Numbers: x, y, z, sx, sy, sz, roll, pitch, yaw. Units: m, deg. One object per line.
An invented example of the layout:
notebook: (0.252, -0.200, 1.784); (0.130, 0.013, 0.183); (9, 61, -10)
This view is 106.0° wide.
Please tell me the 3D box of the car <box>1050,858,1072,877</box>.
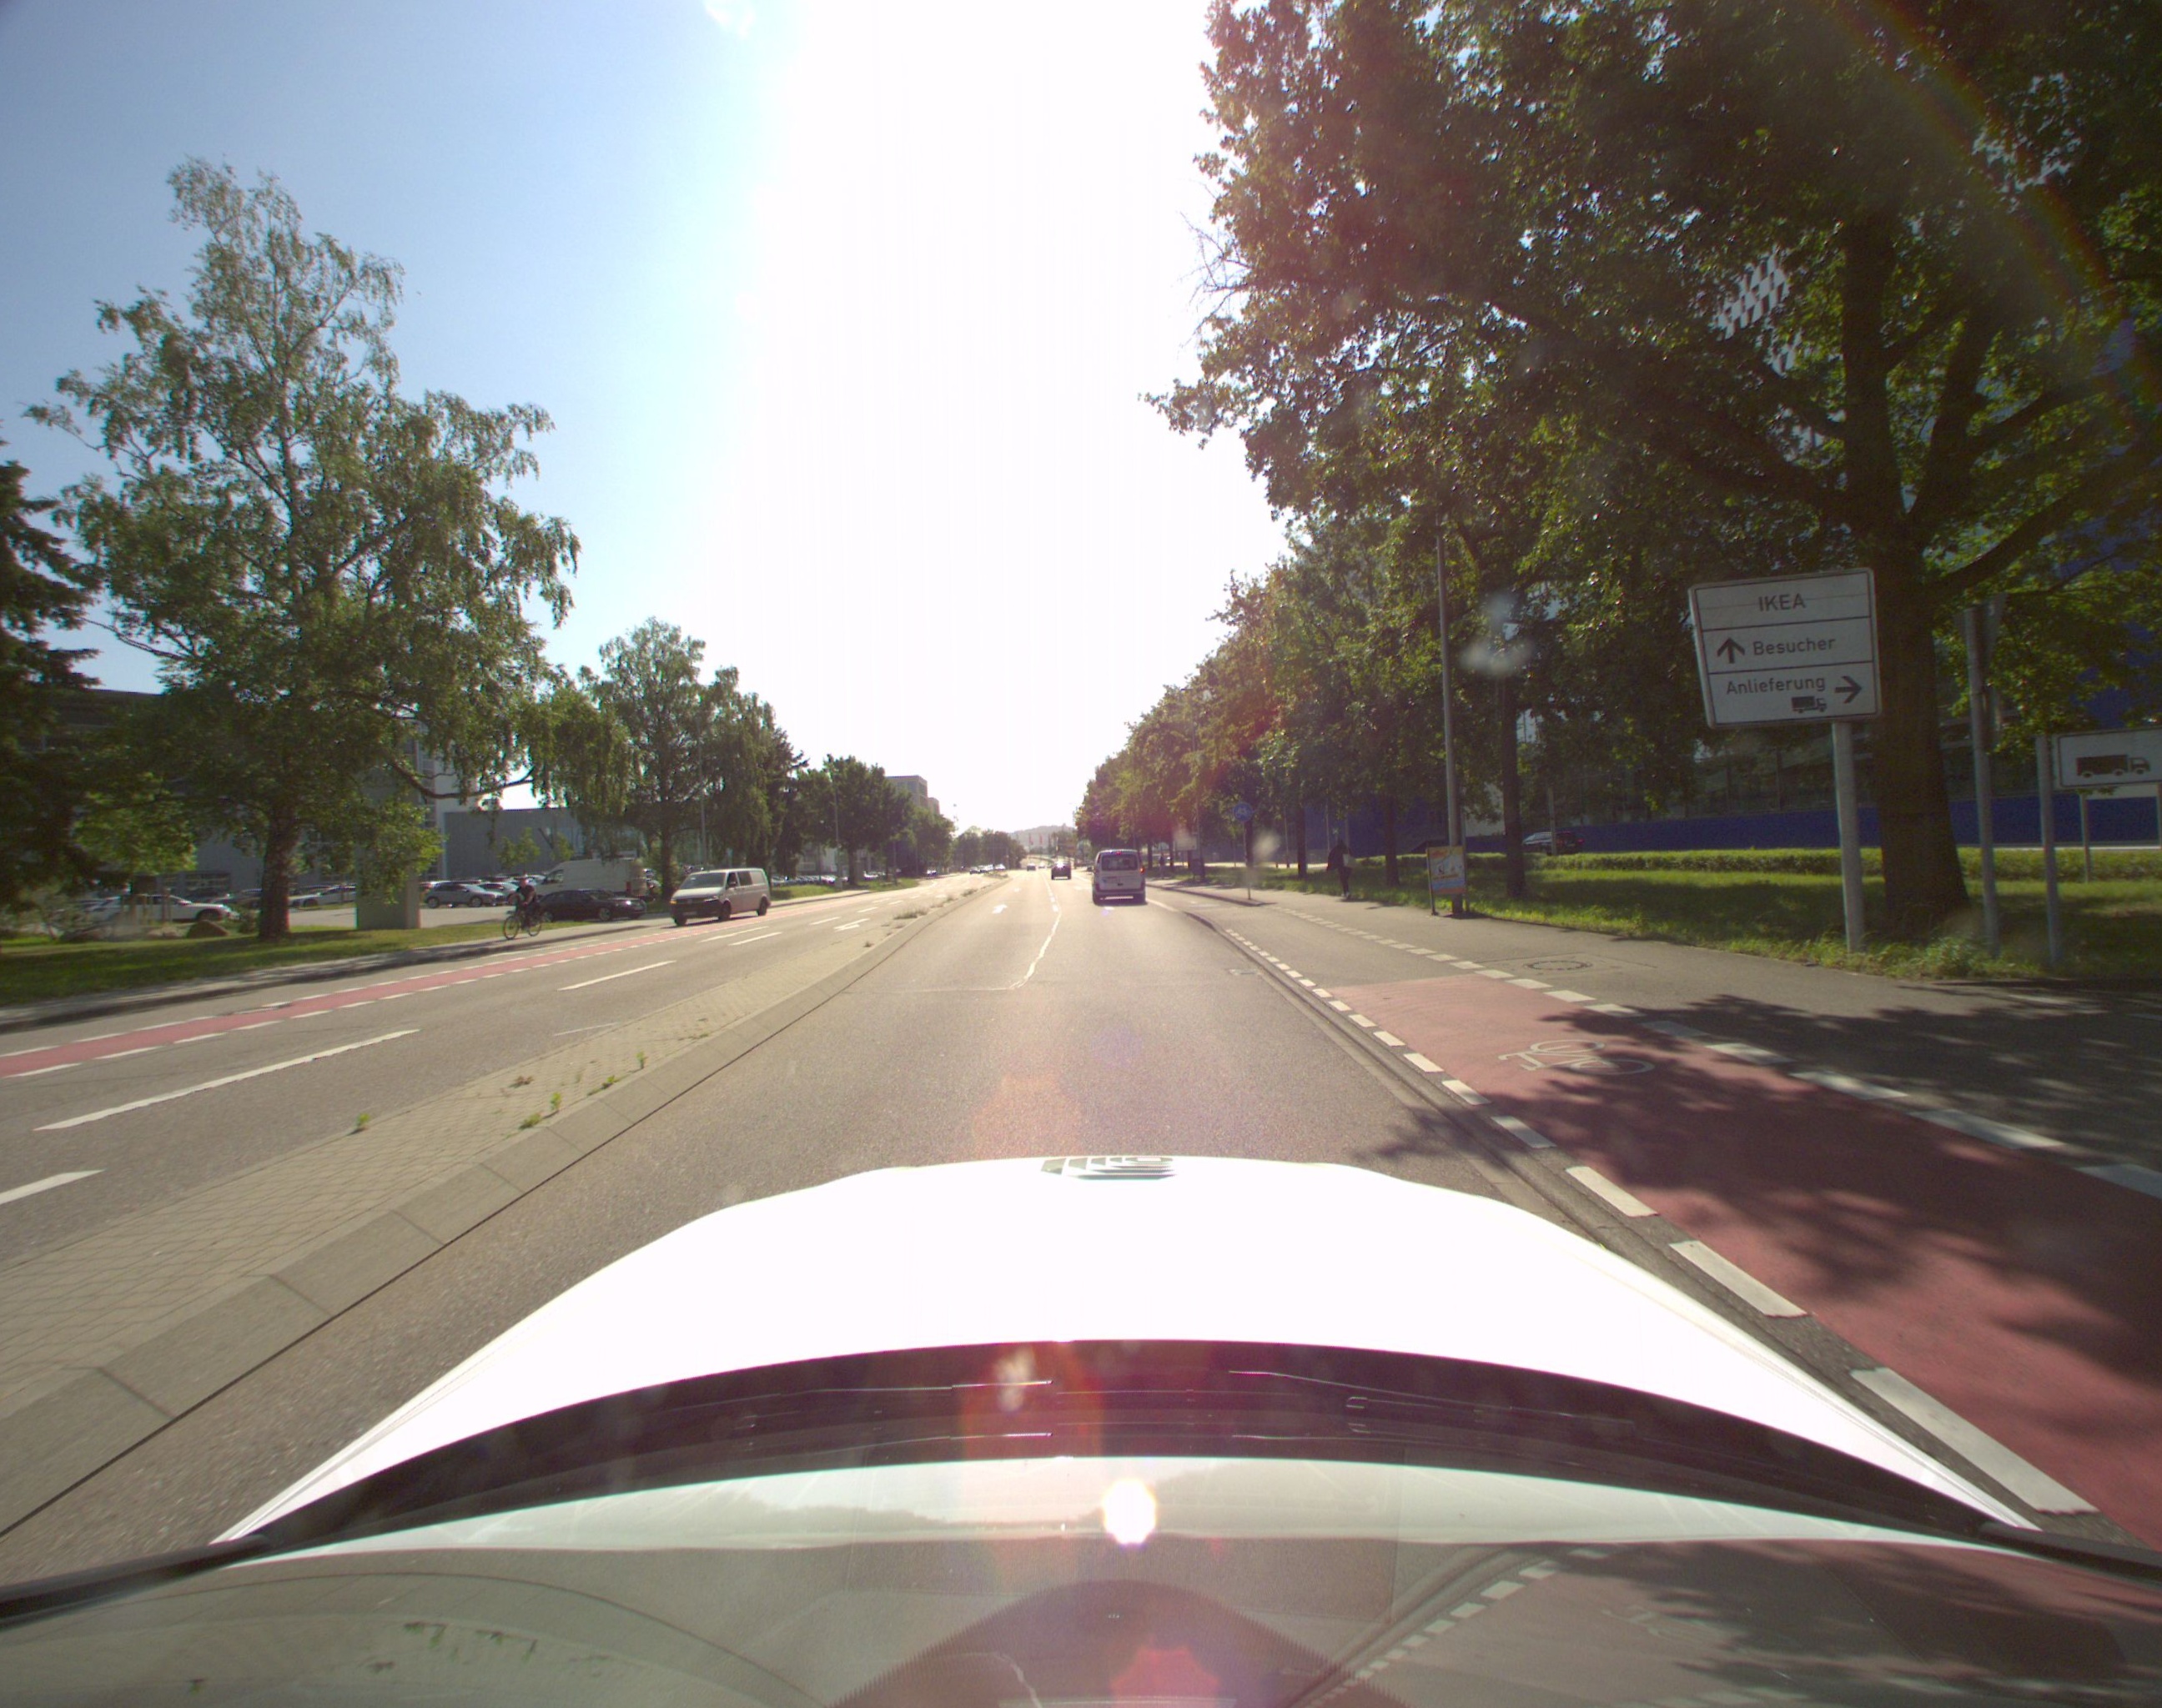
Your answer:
car: (-1.912, 1.272, 78.378); (1.801, 1.640, 4.459); (-3, 0, 1)

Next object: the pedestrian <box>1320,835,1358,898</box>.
pedestrian: (6.891, 0.332, 21.768); (0.645, 1.603, 0.846); (-3, -1, -2)

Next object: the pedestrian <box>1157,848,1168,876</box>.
pedestrian: (5.474, 0.540, 54.661); (0.534, 1.841, 0.727); (-3, -1, -3)

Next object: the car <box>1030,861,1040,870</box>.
car: (-9.519, 2.410, 168.328); (1.988, 1.684, 3.997); (-3, 0, -2)

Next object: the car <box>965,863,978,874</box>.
car: (-21.584, 2.775, 160.982); (1.988, 2.013, 3.998); (-1, 1, -1)

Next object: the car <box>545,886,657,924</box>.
car: (-20.665, 2.204, 35.034); (4.621, 1.413, 2.013); (-3, -1, 29)

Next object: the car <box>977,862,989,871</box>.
car: (-18.239, 2.287, 151.933); (1.837, 1.463, 4.995); (-5, 0, -2)

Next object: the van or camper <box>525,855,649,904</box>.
van or camper: (-26.824, 1.363, 44.355); (5.369, 2.470, 1.997); (-1, 1, -5)

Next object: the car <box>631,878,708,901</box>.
car: (-27.049, 2.324, 53.639); (4.075, 1.293, 1.743); (-3, 0, -1)

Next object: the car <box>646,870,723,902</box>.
car: (-27.283, 2.206, 56.157); (4.253, 1.884, 1.953); (-3, 0, -1)

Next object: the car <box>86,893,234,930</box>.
car: (-46.090, 2.873, 40.863); (1.974, 1.442, 4.579); (-3, 0, 31)

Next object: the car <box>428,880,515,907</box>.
car: (-37.565, 2.435, 50.236); (4.070, 1.354, 1.745); (-3, -1, 2)

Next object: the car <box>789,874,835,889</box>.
car: (-29.718, 2.993, 90.047); (4.253, 1.350, 1.953); (-3, 0, -1)

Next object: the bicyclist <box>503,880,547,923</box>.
bicyclist: (-17.075, 1.451, 25.023); (0.631, 1.227, 0.951); (-3, 0, 2)

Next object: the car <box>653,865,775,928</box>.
car: (-13.970, 1.534, 31.427); (1.986, 2.013, 5.349); (-3, 0, 2)

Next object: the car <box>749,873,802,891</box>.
car: (-28.943, 2.643, 77.269); (4.253, 1.350, 1.953); (-3, 0, -1)

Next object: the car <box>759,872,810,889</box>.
car: (-29.023, 2.611, 79.842); (4.253, 1.350, 1.953); (-3, 0, -1)

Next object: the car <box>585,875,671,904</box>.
car: (-26.953, 2.112, 48.555); (4.070, 1.438, 1.745); (-3, 0, 2)

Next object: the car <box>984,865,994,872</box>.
car: (-23.576, 3.671, 208.109); (1.885, 1.464, 4.002); (-3, -1, 2)

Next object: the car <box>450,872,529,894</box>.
car: (-43.292, 2.114, 59.680); (4.255, 1.350, 1.952); (-3, 0, -2)

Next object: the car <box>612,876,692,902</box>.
car: (-26.794, 2.180, 50.929); (4.070, 1.354, 1.745); (-3, -1, 2)

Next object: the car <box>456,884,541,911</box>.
car: (-37.818, 2.793, 52.941); (4.077, 1.438, 1.742); (-3, 0, -3)

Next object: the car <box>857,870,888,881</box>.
car: (-30.227, 3.108, 118.029); (3.978, 1.376, 1.922); (-3, 0, -3)

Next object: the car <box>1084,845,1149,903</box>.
car: (1.182, 0.677, 28.954); (1.901, 1.829, 4.176); (-3, 0, -2)

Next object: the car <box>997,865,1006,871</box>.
car: (-20.466, 3.607, 209.466); (1.809, 1.464, 4.002); (-3, -1, 2)

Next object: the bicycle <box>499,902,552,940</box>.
bicycle: (-17.088, 2.042, 25.084); (0.444, 1.027, 1.616); (-3, 0, 2)

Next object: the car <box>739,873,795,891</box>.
car: (-28.793, 2.538, 74.750); (4.253, 1.350, 1.953); (-3, 0, -1)

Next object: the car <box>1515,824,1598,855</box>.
car: (26.216, -0.744, 45.119); (1.900, 1.520, 4.371); (-3, 0, -2)
